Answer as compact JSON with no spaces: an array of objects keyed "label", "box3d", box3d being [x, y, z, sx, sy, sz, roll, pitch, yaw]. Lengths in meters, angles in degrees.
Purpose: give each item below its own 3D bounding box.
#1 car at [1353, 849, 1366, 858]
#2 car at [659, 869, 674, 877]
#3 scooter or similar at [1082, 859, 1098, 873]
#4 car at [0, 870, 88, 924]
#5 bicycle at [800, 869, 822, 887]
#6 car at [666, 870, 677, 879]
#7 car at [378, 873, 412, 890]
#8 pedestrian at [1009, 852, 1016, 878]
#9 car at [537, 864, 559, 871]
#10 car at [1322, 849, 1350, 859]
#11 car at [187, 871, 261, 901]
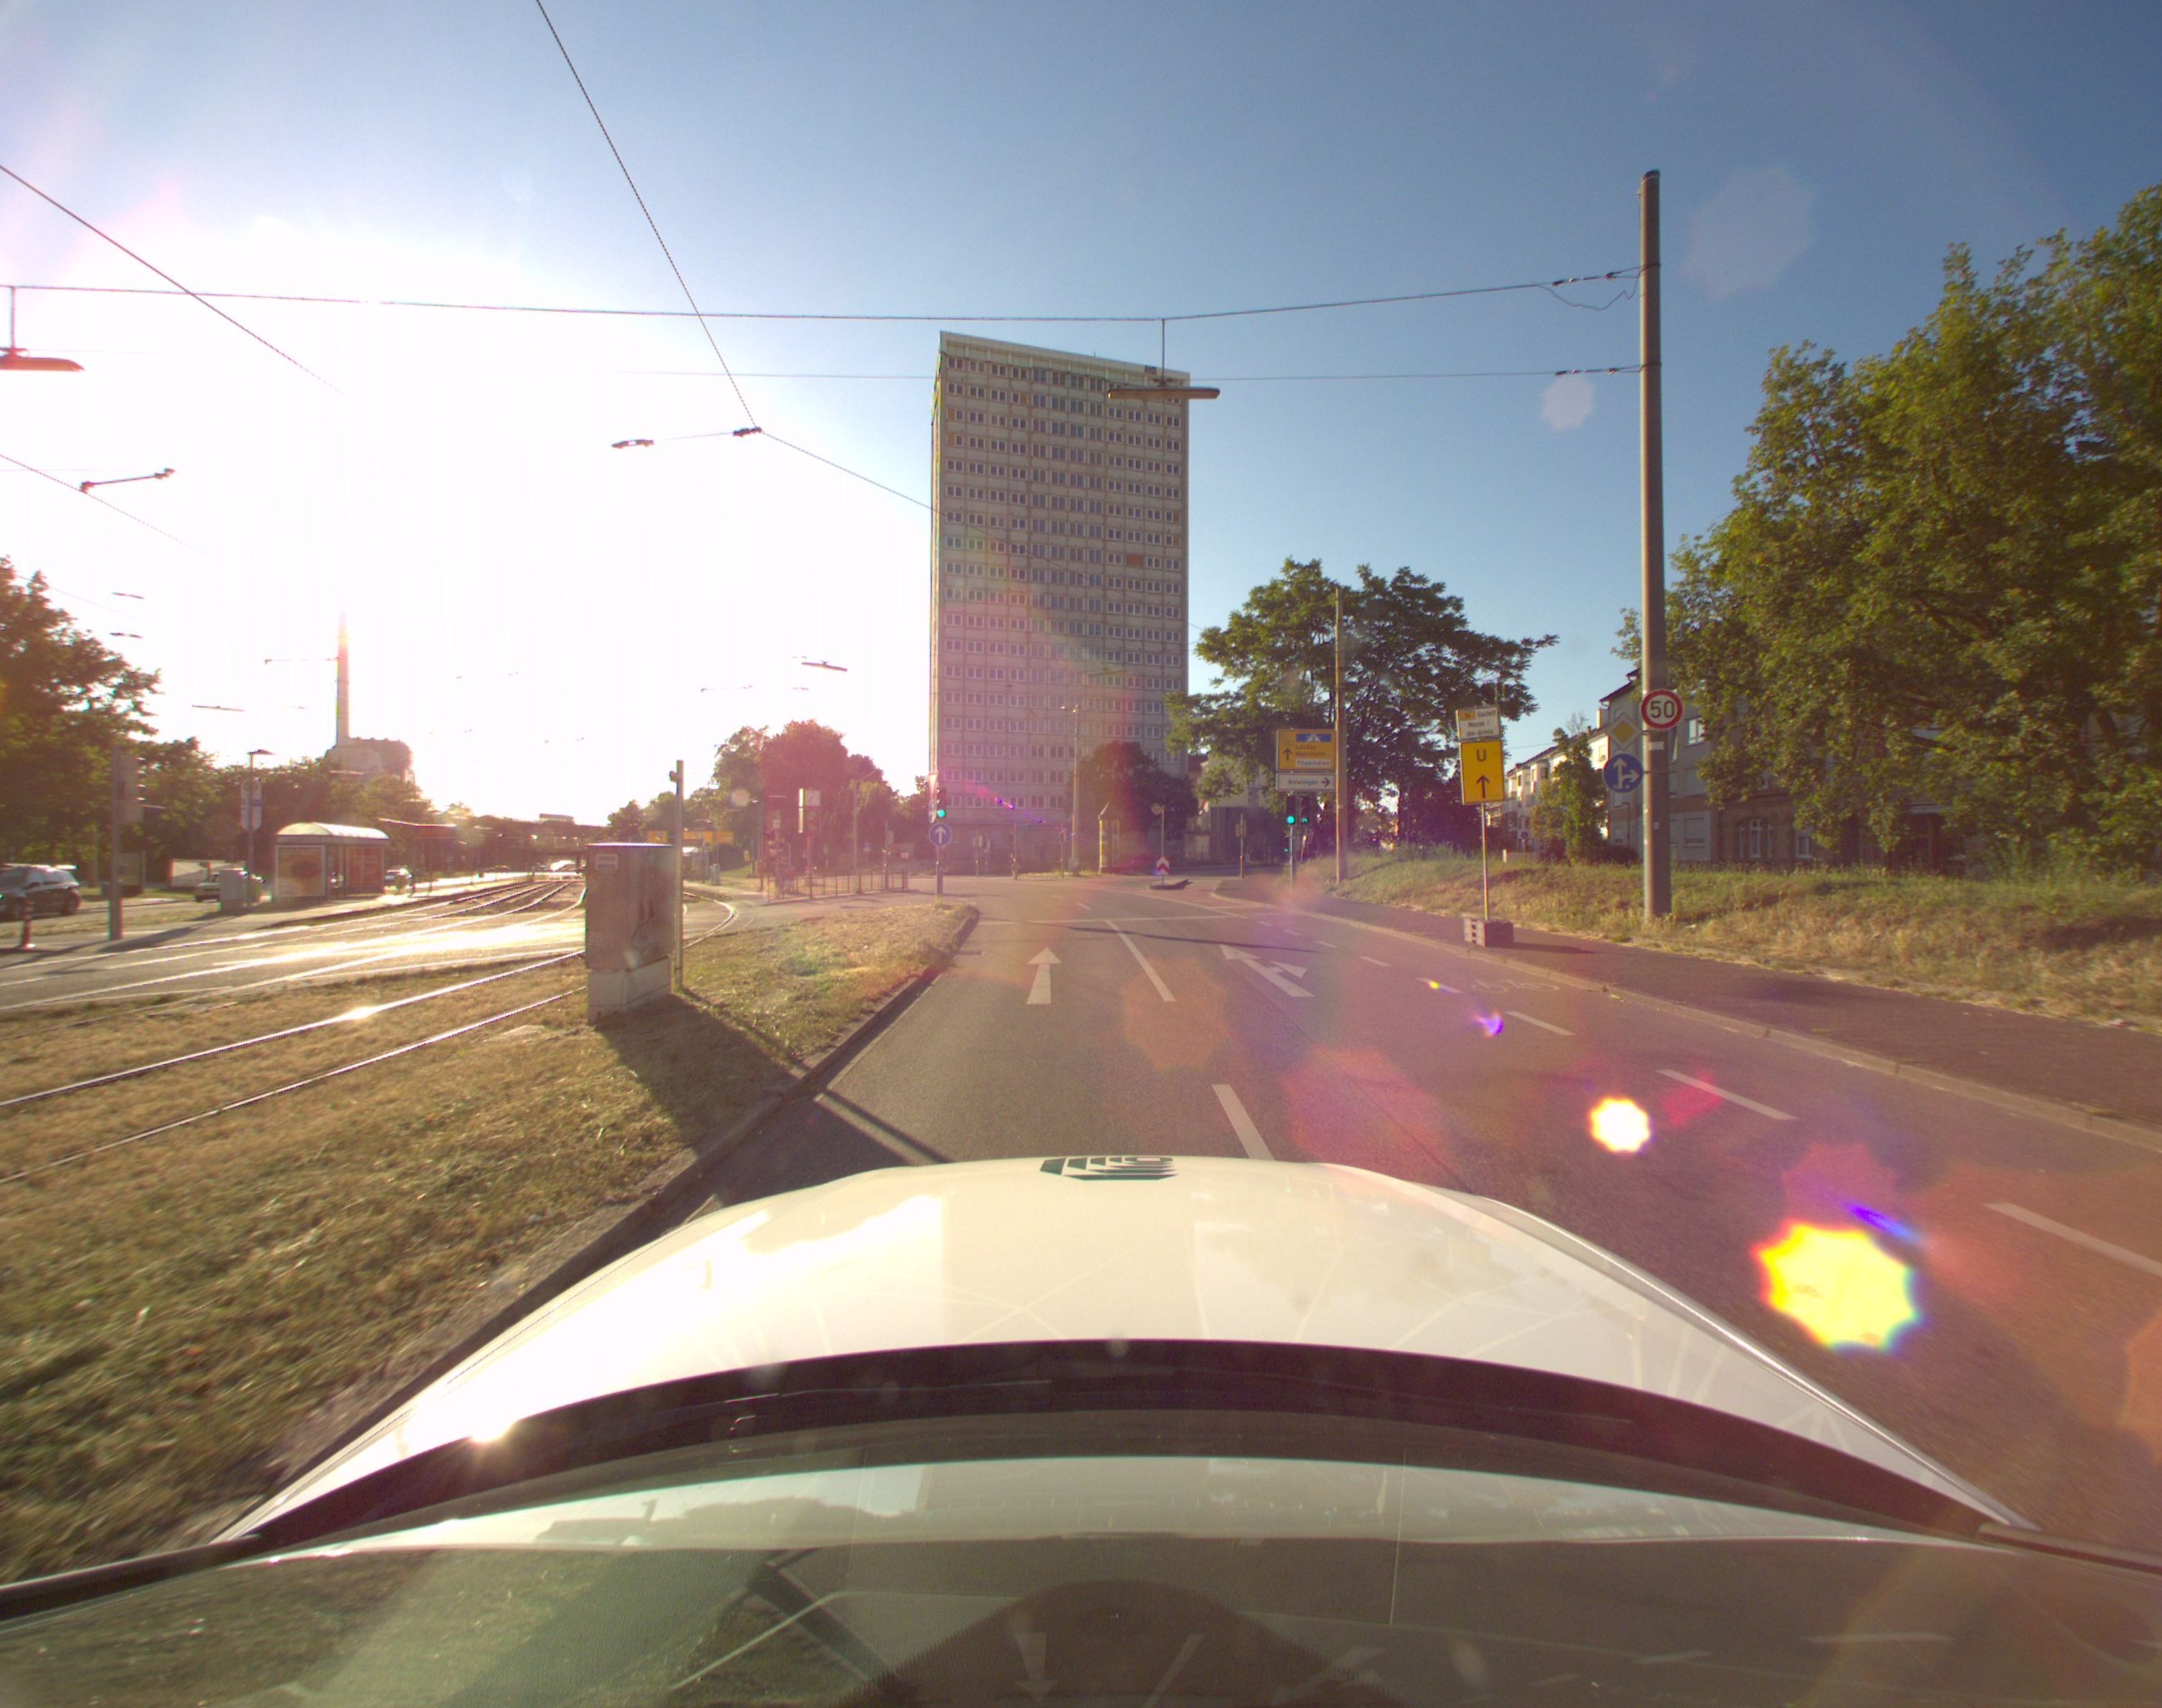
[{"label":"car","box3d":[48.102,-0.109,140.684,1.857,1.458,3.807,-1,1,21]},{"label":"car","box3d":[-77.721,3.543,152.716,2.052,1.446,3.959,-1,1,-33]},{"label":"scooter or similar","box3d":[0.736,0.999,68.973,1.298,1.170,0.325,-1,0,-13]},{"label":"car","box3d":[-33.663,1.291,25.504,1.588,1.595,4.117,1,-1,-25]},{"label":"bicycle","box3d":[-14.805,1.289,44.643,0.551,0.918,1.743,-2,0,1]},{"label":"car","box3d":[-73.117,3.664,145.485,1.525,1.387,3.330,0,0,-31]},{"label":"car","box3d":[-63.220,2.511,75.101,1.667,1.532,4.347,-1,-1,-31]},{"label":"pedestrian","box3d":[-4.288,0.714,51.046,0.435,1.612,0.629,-1,0,-3]},{"label":"car","box3d":[-117.367,3.050,179.408,4.016,1.446,1.755,-1,0,-34]},{"label":"car","box3d":[35.709,-0.013,114.098,3.672,1.301,1.518,-1,0,17]},{"label":"car","box3d":[-42.601,1.543,40.556,1.555,1.340,3.559,0,0,-30]}]
